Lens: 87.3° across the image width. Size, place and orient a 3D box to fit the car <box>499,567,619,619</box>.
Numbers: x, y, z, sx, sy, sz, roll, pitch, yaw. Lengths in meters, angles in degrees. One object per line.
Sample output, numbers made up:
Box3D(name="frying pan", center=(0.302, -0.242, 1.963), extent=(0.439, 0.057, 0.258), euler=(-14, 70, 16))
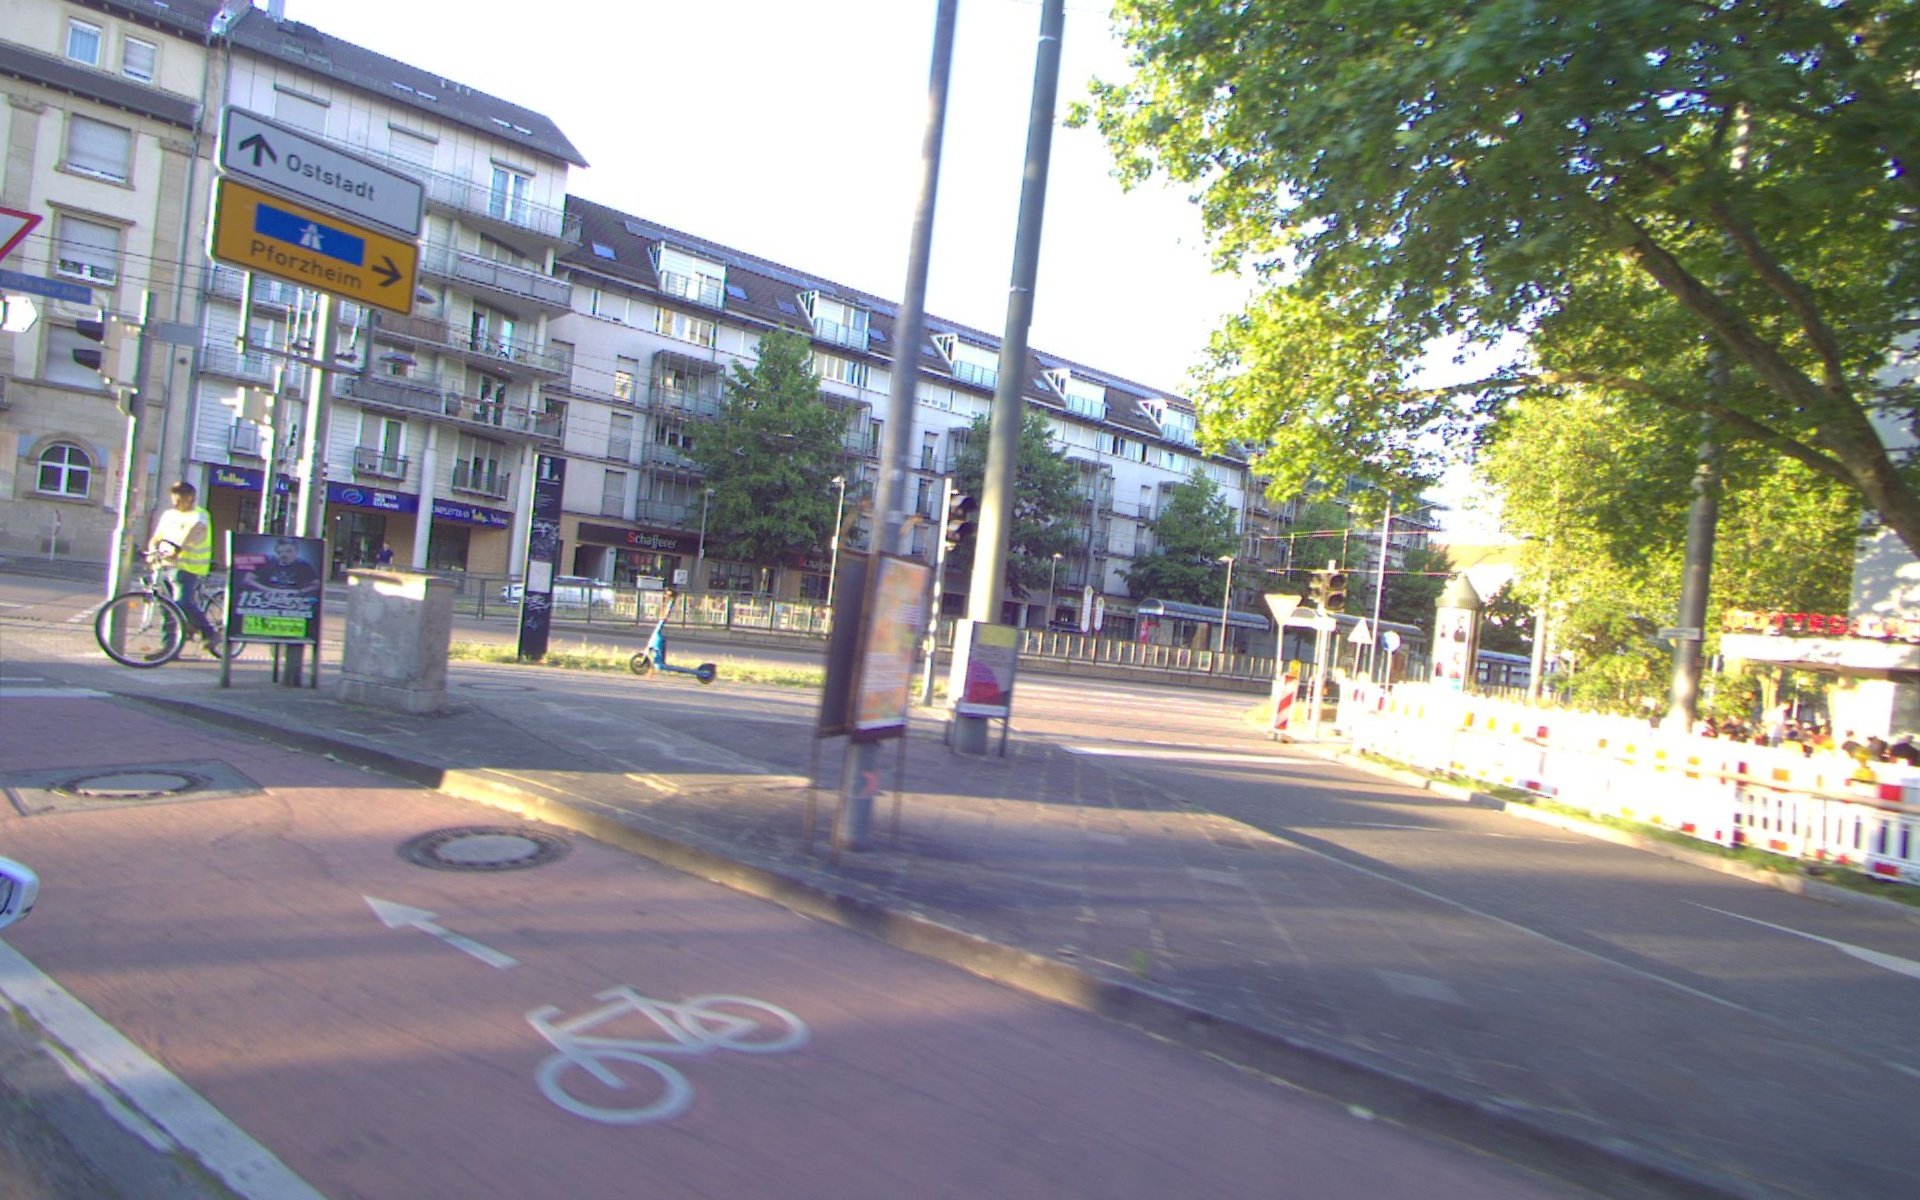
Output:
Box3D(name="car", center=(-15.653, -0.255, 39.359), extent=(3.963, 1.503, 1.834), euler=(8, -2, -34))

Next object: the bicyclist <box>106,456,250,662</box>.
Box3D(name="bicyclist", center=(-7.457, -0.364, 9.622), extent=(0.616, 1.845, 0.699), euler=(6, -1, 0))

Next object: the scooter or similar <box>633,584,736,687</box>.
Box3D(name="scooter or similar", center=(-3.807, 0.491, 13.877), extent=(1.217, 1.264, 0.513), euler=(7, -1, -19))

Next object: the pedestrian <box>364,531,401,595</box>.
Box3D(name="pedestrian", center=(-21.306, -1.359, 37.107), extent=(0.864, 2.234, 0.812), euler=(7, -1, -39))

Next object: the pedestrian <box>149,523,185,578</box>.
Box3D(name="pedestrian", center=(-27.457, -1.709, 34.842), extent=(0.781, 1.800, 0.539), euler=(7, -1, -33))

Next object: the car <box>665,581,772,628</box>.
Box3D(name="car", center=(-10.334, 0.214, 43.194), extent=(3.969, 1.503, 1.831), euler=(8, -3, -38))

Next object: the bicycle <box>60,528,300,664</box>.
Box3D(name="bicycle", center=(-7.502, 0.005, 9.841), extent=(0.616, 1.122, 2.074), euler=(6, -2, 0))
